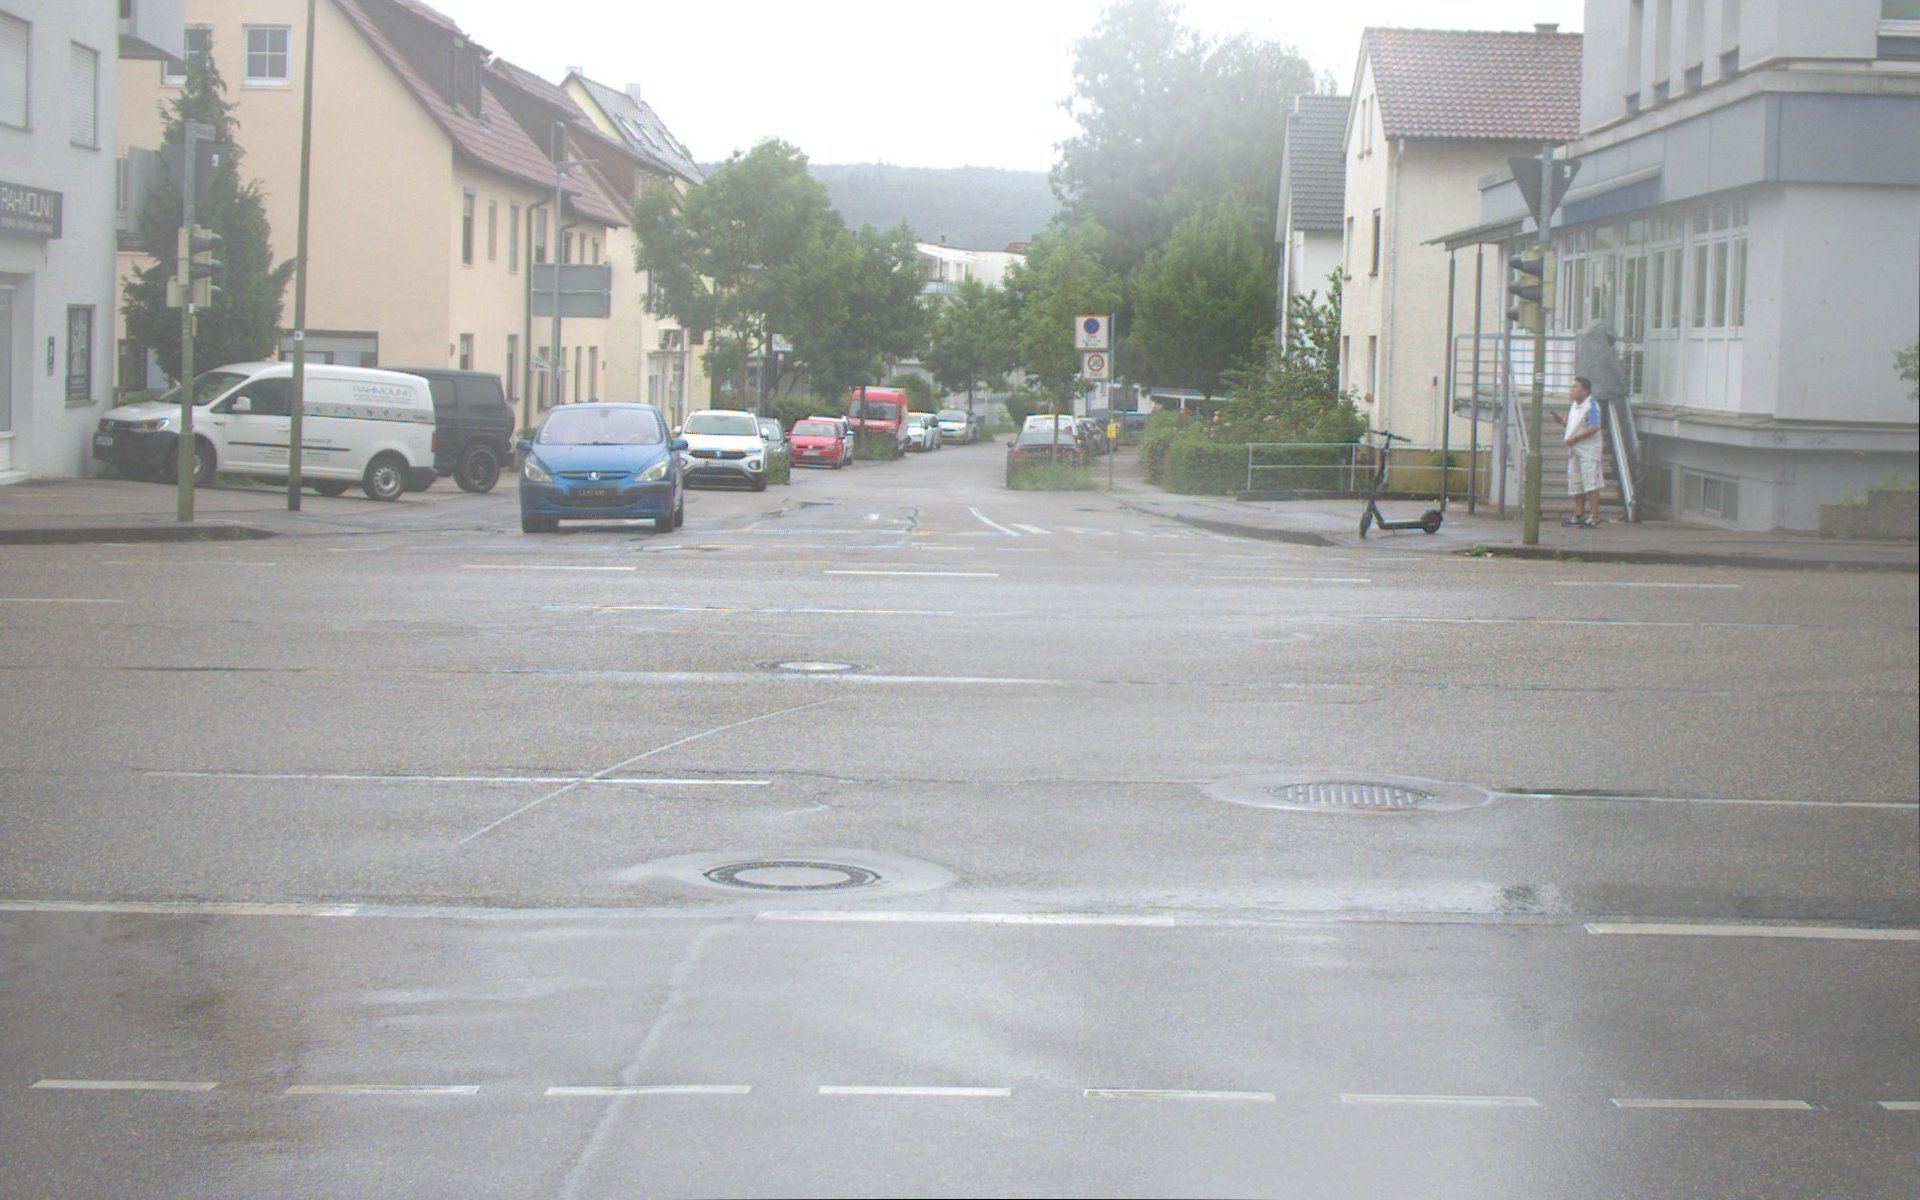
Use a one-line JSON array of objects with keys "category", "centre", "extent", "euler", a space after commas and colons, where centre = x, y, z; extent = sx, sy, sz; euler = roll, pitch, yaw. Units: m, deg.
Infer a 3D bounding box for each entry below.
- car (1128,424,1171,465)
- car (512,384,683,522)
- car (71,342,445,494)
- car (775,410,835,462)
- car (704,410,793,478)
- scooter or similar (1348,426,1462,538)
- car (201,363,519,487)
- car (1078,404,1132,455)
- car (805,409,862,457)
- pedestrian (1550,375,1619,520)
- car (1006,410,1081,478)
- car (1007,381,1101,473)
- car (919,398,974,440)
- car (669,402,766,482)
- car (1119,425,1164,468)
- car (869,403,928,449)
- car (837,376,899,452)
[{"category": "car", "centre": [9.418, -7.694, 170.272], "extent": [1.994, 2.006, 4.000], "euler": [1, 3, 5]}, {"category": "car", "centre": [-4.146, -1.662, 39.821], "extent": [1.767, 1.440, 4.001], "euler": [1, 1, -3]}, {"category": "car", "centre": [-9.672, -2.482, 47.567], "extent": [4.715, 1.772, 1.772], "euler": [2, 1, -39]}, {"category": "car", "centre": [-4.716, -4.968, 104.234], "extent": [1.767, 1.513, 4.001], "euler": [0, 3, -3]}, {"category": "car", "centre": [-4.857, -3.594, 79.345], "extent": [1.767, 1.513, 4.195], "euler": [0, 3, 0]}, {"category": "scooter or similar", "centre": [4.983, -1.316, 38.549], "extent": [1.058, 1.223, 0.802], "euler": [1, 0, -9]}, {"category": "car", "centre": [-9.512, -2.764, 54.684], "extent": [4.608, 1.882, 1.963], "euler": [-2, 3, -39]}, {"category": "car", "centre": [5.798, -6.794, 137.011], "extent": [1.994, 2.006, 4.000], "euler": [1, 3, 5]}, {"category": "car", "centre": [-4.155, -5.445, 112.331], "extent": [1.767, 1.513, 4.001], "euler": [0, 3, -3]}, {"category": "pedestrian", "centre": [7.186, -1.750, 39.572], "extent": [0.654, 1.646, 0.646], "euler": [1, 0, 0]}, {"category": "car", "centre": [2.538, -4.695, 103.420], "extent": [1.994, 2.006, 4.000], "euler": [1, 3, 5]}, {"category": "car", "centre": [2.251, -4.072, 81.404], "extent": [1.994, 2.007, 3.999], "euler": [1, 1, 5]}, {"category": "car", "centre": [-0.592, -8.131, 154.373], "extent": [1.994, 1.700, 3.999], "euler": [1, 1, 6]}, {"category": "car", "centre": [-4.757, -3.112, 67.832], "extent": [1.767, 1.518, 4.001], "euler": [0, 3, -2]}, {"category": "car", "centre": [8.544, -7.213, 161.769], "extent": [1.994, 2.006, 4.000], "euler": [1, 3, 5]}, {"category": "car", "centre": [-2.471, -7.005, 138.713], "extent": [1.994, 1.678, 3.999], "euler": [1, 1, 5]}, {"category": "car", "centre": [-3.381, -6.855, 127.205], "extent": [2.216, 2.759, 5.726], "euler": [0, 3, -1]}]
